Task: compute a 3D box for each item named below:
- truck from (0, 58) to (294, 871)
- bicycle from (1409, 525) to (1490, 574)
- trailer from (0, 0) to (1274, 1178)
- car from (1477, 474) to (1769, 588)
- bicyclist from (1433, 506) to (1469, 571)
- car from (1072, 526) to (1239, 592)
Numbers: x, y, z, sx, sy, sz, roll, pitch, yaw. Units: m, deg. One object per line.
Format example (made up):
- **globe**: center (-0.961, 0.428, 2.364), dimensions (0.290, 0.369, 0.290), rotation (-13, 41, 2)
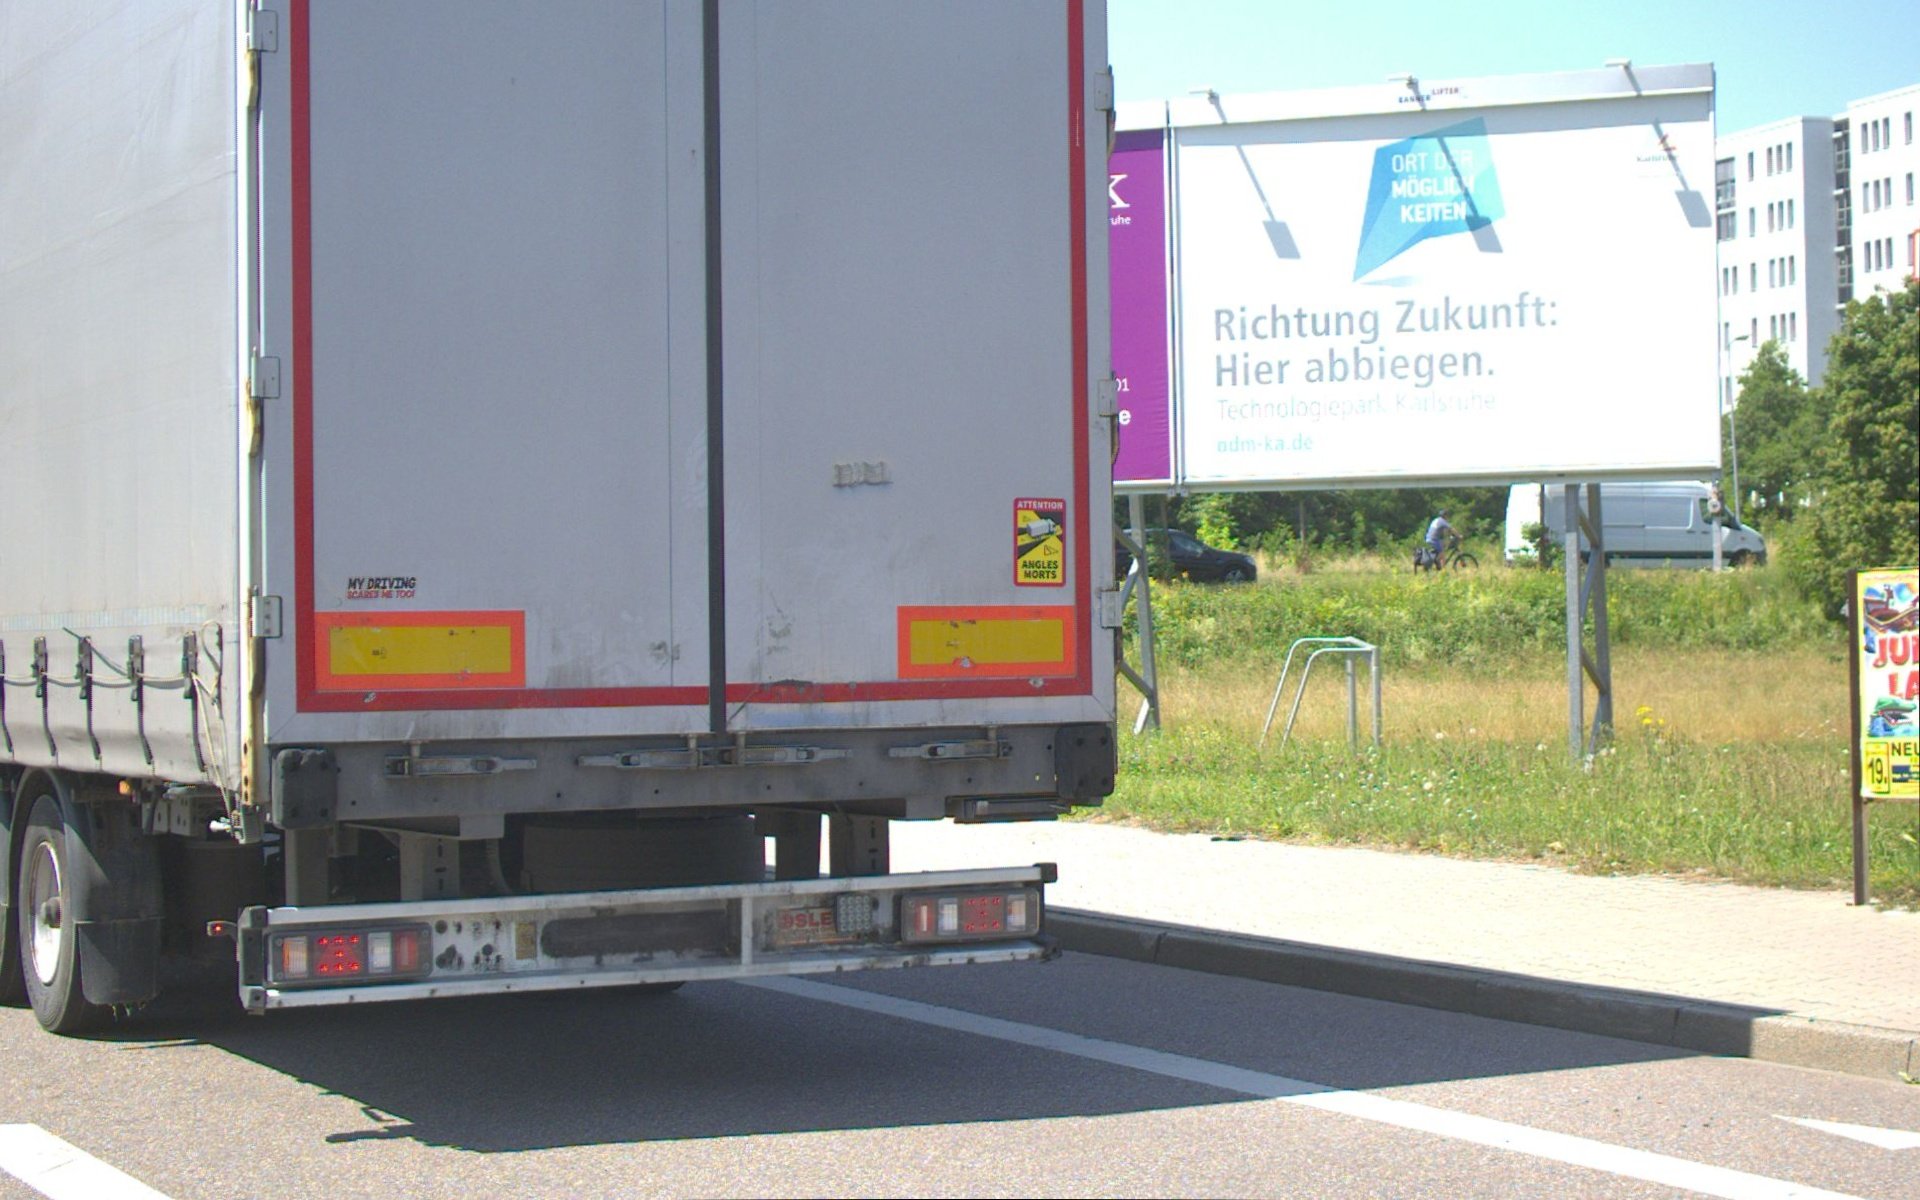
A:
- **truck**: center (-6.811, -0.711, 20.569), dimensions (3.077, 4.056, 7.959), rotation (0, 1, -30)
- **bicycle**: center (12.525, -1.296, 87.957), dimensions (1.958, 1.176, 0.614), rotation (-2, 3, -18)
- **trailer**: center (-2.756, -0.671, 13.253), dimensions (3.077, 4.056, 9.810), rotation (0, 0, -27)
- **car**: center (16.856, -1.748, 87.491), dimensions (6.829, 2.792, 2.669), rotation (-1, 0, -18)
- **bicyclist**: center (12.565, -1.580, 87.957), dimensions (0.690, 1.618, 0.610), rotation (-2, 3, -18)
- **car**: center (4.703, -0.984, 82.799), dimensions (3.615, 1.527, 1.706), rotation (0, 0, -23)
